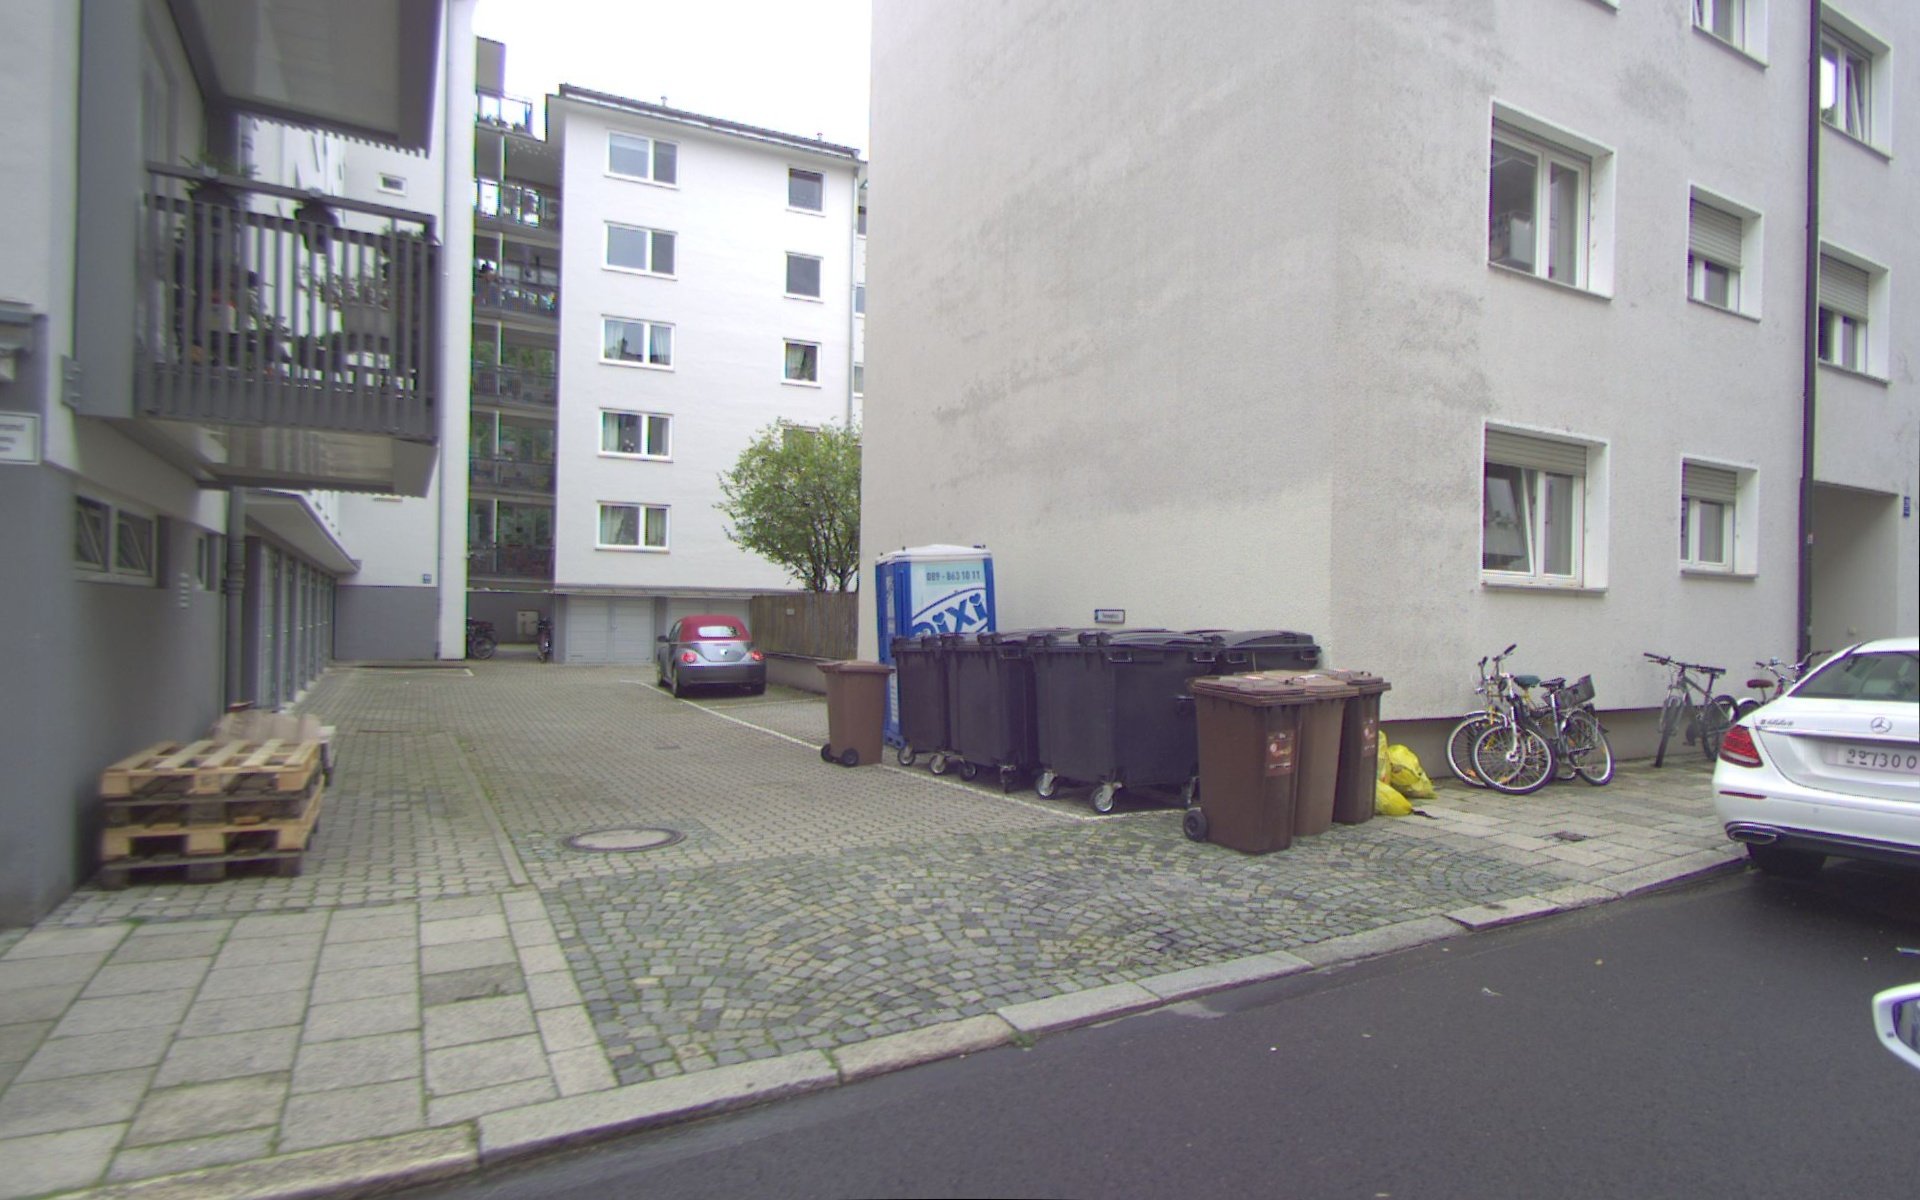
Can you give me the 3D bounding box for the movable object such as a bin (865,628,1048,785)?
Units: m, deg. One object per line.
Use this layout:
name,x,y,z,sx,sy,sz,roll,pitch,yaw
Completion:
movable object such as a bin,-0.059,0.990,9.978,1.332,1.393,1.330,2,-1,-29

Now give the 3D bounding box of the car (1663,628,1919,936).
car,6.580,0.950,6.181,4.752,1.456,1.903,2,-1,-30

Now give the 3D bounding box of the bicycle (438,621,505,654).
bicycle,-16.278,1.259,33.473,1.969,1.074,0.601,1,-1,-31

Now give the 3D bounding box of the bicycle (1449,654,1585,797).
bicycle,4.952,1.064,8.889,1.667,1.154,0.339,2,-1,-35

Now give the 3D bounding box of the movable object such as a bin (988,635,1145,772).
movable object such as a bin,1.084,1.024,10.381,1.186,1.280,1.116,2,-1,-29

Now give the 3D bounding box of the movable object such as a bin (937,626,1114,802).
movable object such as a bin,0.558,0.944,8.823,1.139,1.393,1.085,2,-1,-29

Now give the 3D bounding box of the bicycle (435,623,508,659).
bicycle,-14.964,1.252,30.773,1.969,1.074,0.601,1,-1,-31

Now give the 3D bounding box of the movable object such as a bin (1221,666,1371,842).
movable object such as a bin,2.328,1.031,6.991,0.629,1.090,0.763,2,-1,-35

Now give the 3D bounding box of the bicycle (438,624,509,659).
bicycle,-15.496,1.308,32.012,1.969,1.074,0.601,1,-1,-31

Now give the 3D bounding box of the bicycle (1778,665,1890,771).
bicycle,9.195,1.206,10.550,1.605,1.030,0.386,2,-2,-30

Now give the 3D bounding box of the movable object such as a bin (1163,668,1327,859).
movable object such as a bin,1.836,1.012,6.506,0.671,1.090,0.763,2,-1,-35

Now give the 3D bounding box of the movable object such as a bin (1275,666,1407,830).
movable object such as a bin,2.805,1.055,7.410,0.598,1.090,0.686,2,-1,-35

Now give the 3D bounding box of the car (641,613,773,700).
car,-5.157,1.044,20.077,1.780,1.506,3.973,1,0,-26

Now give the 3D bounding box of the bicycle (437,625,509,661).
bicycle,-15.234,1.337,31.413,1.969,1.074,0.601,1,-1,-31

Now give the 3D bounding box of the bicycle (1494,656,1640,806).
bicycle,5.194,1.071,8.557,1.666,1.154,0.401,2,-1,-34

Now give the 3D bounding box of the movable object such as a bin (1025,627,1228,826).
movable object such as a bin,1.265,0.909,7.763,1.090,1.371,1.107,2,-1,-29

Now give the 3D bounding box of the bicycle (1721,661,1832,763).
bicycle,8.822,1.179,10.837,1.556,1.030,0.397,2,-2,-30

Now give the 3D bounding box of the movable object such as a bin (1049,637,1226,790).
movable object such as a bin,1.638,1.007,9.373,1.186,1.280,1.116,2,-1,-29

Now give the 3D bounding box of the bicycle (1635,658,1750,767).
bicycle,7.417,1.109,10.162,1.424,1.030,0.377,1,-2,-29

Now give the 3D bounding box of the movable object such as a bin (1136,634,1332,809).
movable object such as a bin,2.240,0.942,8.278,1.083,1.280,1.116,2,-1,-29

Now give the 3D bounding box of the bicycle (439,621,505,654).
bicycle,-16.662,1.280,34.313,1.969,1.074,0.601,1,-1,-31

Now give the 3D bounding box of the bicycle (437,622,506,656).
bicycle,-15.900,1.254,32.701,1.969,1.074,0.601,1,-1,-31

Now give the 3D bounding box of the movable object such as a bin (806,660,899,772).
movable object such as a bin,-1.142,1.199,10.592,0.761,1.090,0.673,2,-1,-29

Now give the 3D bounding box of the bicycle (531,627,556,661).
bicycle,-12.771,1.332,30.780,0.484,0.994,2.030,1,-1,-28
